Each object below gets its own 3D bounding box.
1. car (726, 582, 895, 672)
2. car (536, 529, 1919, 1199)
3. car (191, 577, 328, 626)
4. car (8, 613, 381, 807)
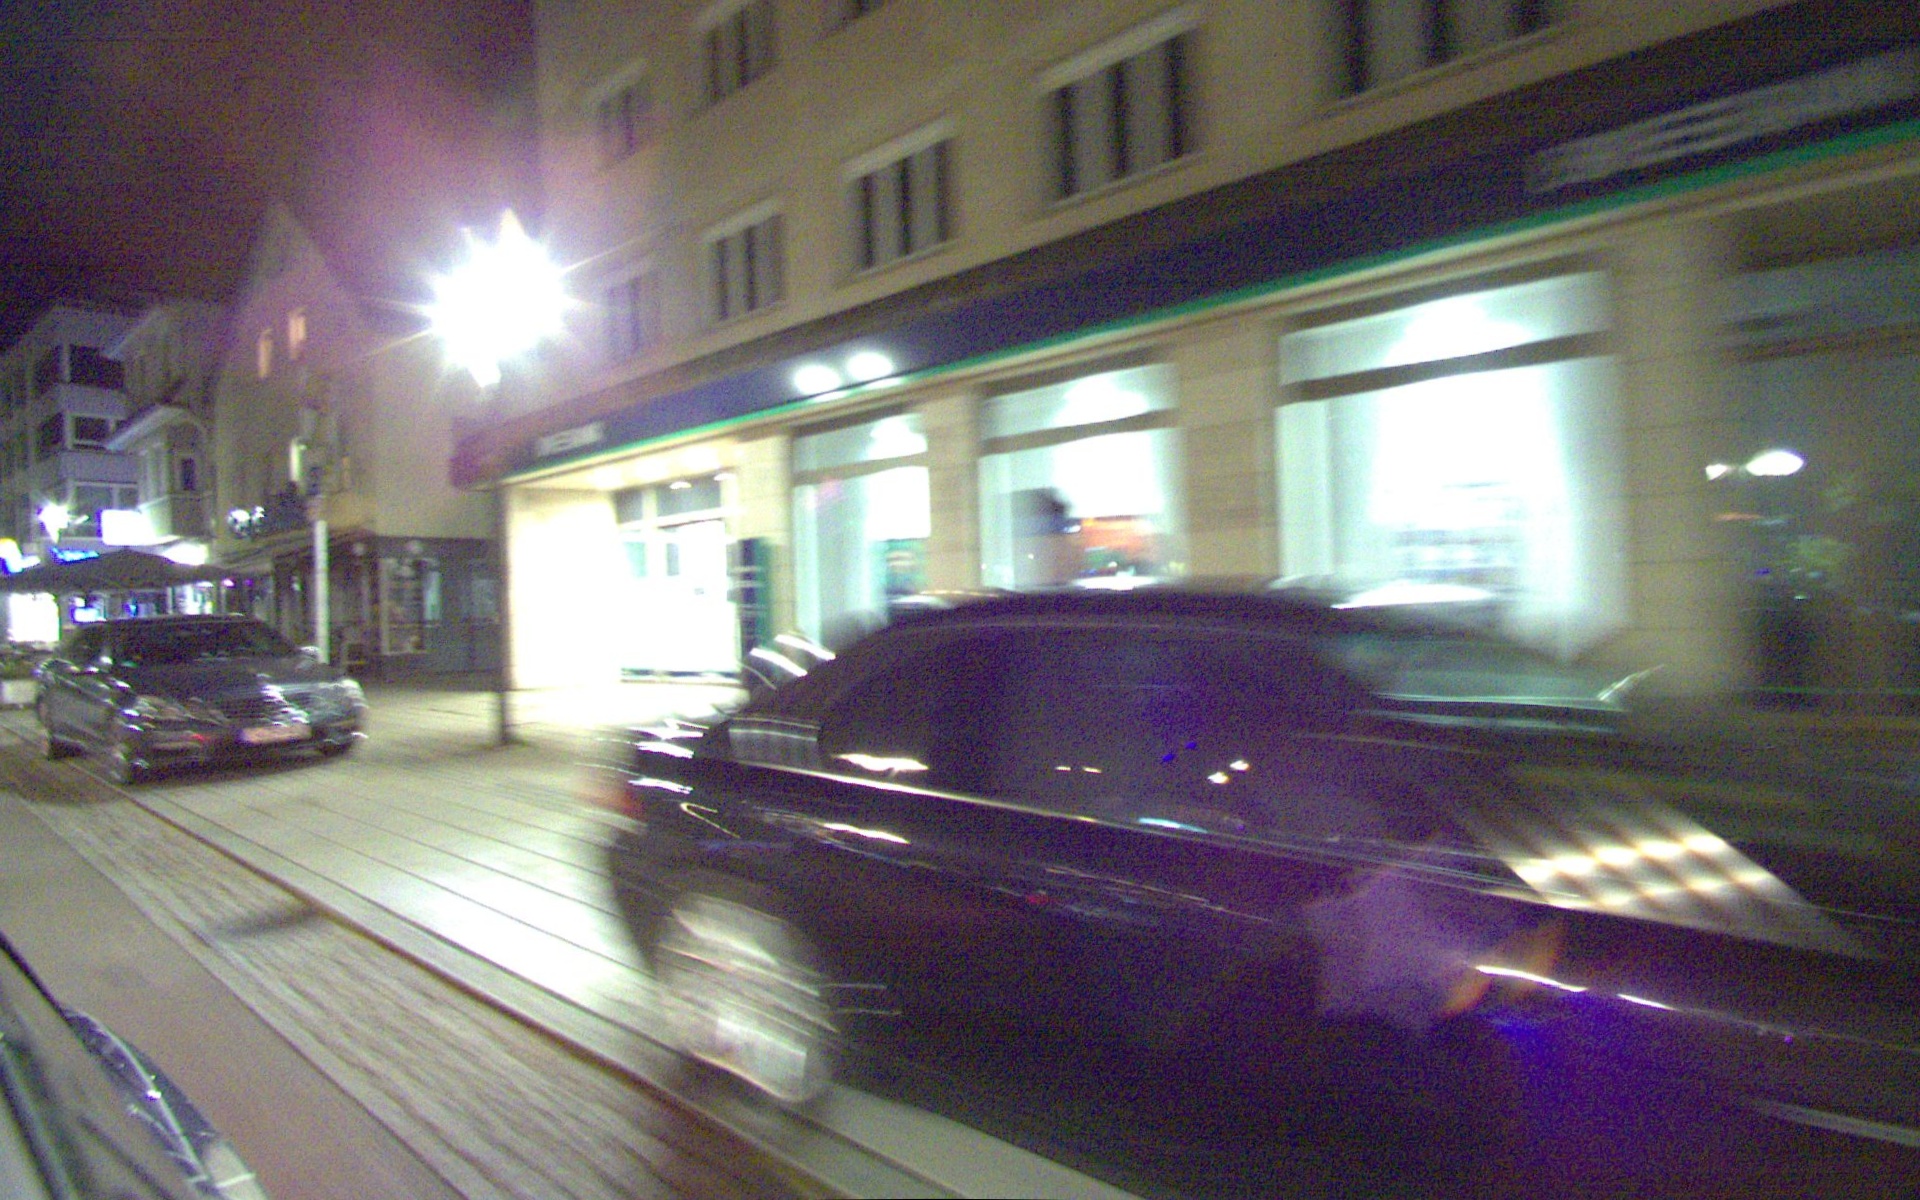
[{"bbox_3d":[-3.332,0.574,22.937,1.770,1.794,3.390,-5,-2,41],"label":"car"},{"bbox_3d":[1.030,0.647,2.520,4.617,1.475,1.827,-2,0,39],"label":"car"},{"bbox_3d":[-24.567,0.025,35.585,1.795,1.532,3.568,-4,-2,36],"label":"car"},{"bbox_3d":[-7.772,0.935,10.117,4.518,1.481,1.882,-2,-1,38],"label":"car"}]
